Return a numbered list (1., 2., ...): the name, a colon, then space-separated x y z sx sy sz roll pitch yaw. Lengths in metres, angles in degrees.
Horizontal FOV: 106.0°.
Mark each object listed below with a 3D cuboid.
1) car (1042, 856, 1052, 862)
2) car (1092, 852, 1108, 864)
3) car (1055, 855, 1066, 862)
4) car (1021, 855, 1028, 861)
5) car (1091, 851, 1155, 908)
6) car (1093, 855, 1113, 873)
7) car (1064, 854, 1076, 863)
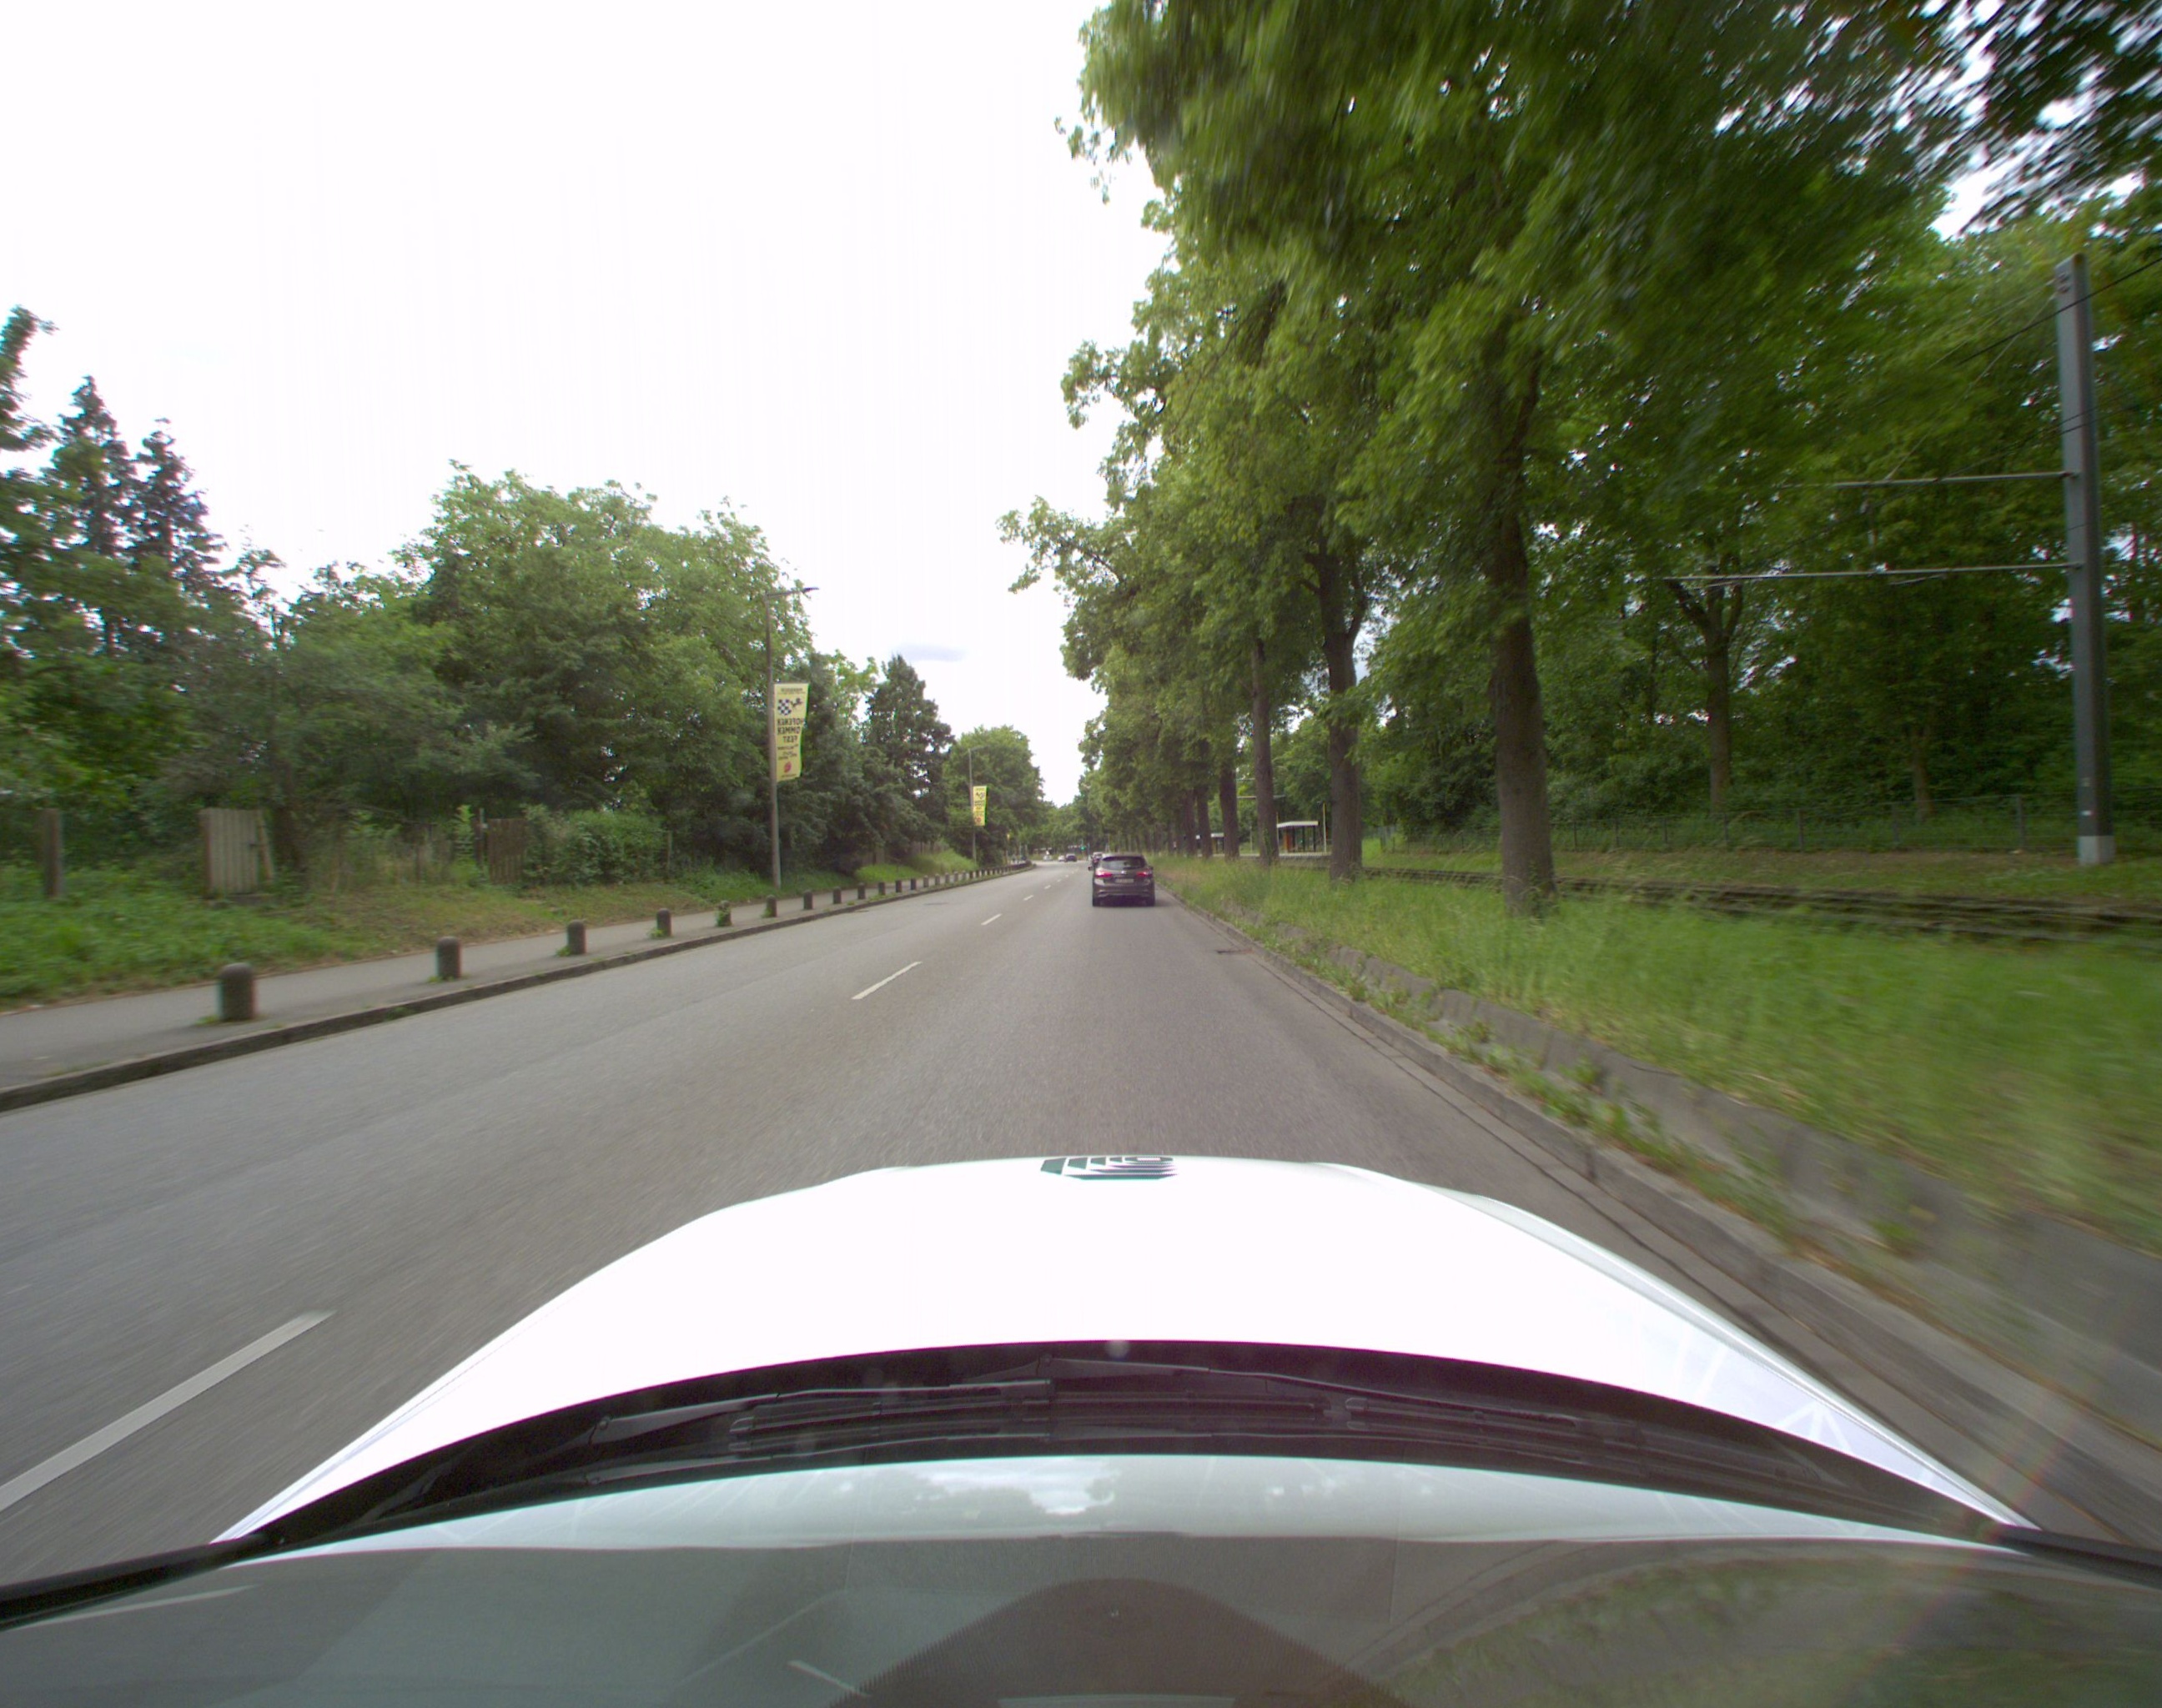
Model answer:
1. car: -7.389 1.074 176.347 1.563 1.441 3.536 0 0 -13
2. car: 2.329 0.518 99.628 1.558 1.441 3.546 0 0 -5
3. car: -3.952 0.847 154.238 1.561 1.441 3.540 0 0 -10
4. car: -14.547 1.043 210.600 1.561 1.441 3.541 0 0 -8
5. car: 1.183 0.690 23.973 1.724 1.537 3.552 0 0 1
6. car: 1.904 0.861 72.338 1.724 1.537 3.552 0 0 1
7. car: -1.865 0.799 139.054 1.561 1.441 3.540 0 0 -10
